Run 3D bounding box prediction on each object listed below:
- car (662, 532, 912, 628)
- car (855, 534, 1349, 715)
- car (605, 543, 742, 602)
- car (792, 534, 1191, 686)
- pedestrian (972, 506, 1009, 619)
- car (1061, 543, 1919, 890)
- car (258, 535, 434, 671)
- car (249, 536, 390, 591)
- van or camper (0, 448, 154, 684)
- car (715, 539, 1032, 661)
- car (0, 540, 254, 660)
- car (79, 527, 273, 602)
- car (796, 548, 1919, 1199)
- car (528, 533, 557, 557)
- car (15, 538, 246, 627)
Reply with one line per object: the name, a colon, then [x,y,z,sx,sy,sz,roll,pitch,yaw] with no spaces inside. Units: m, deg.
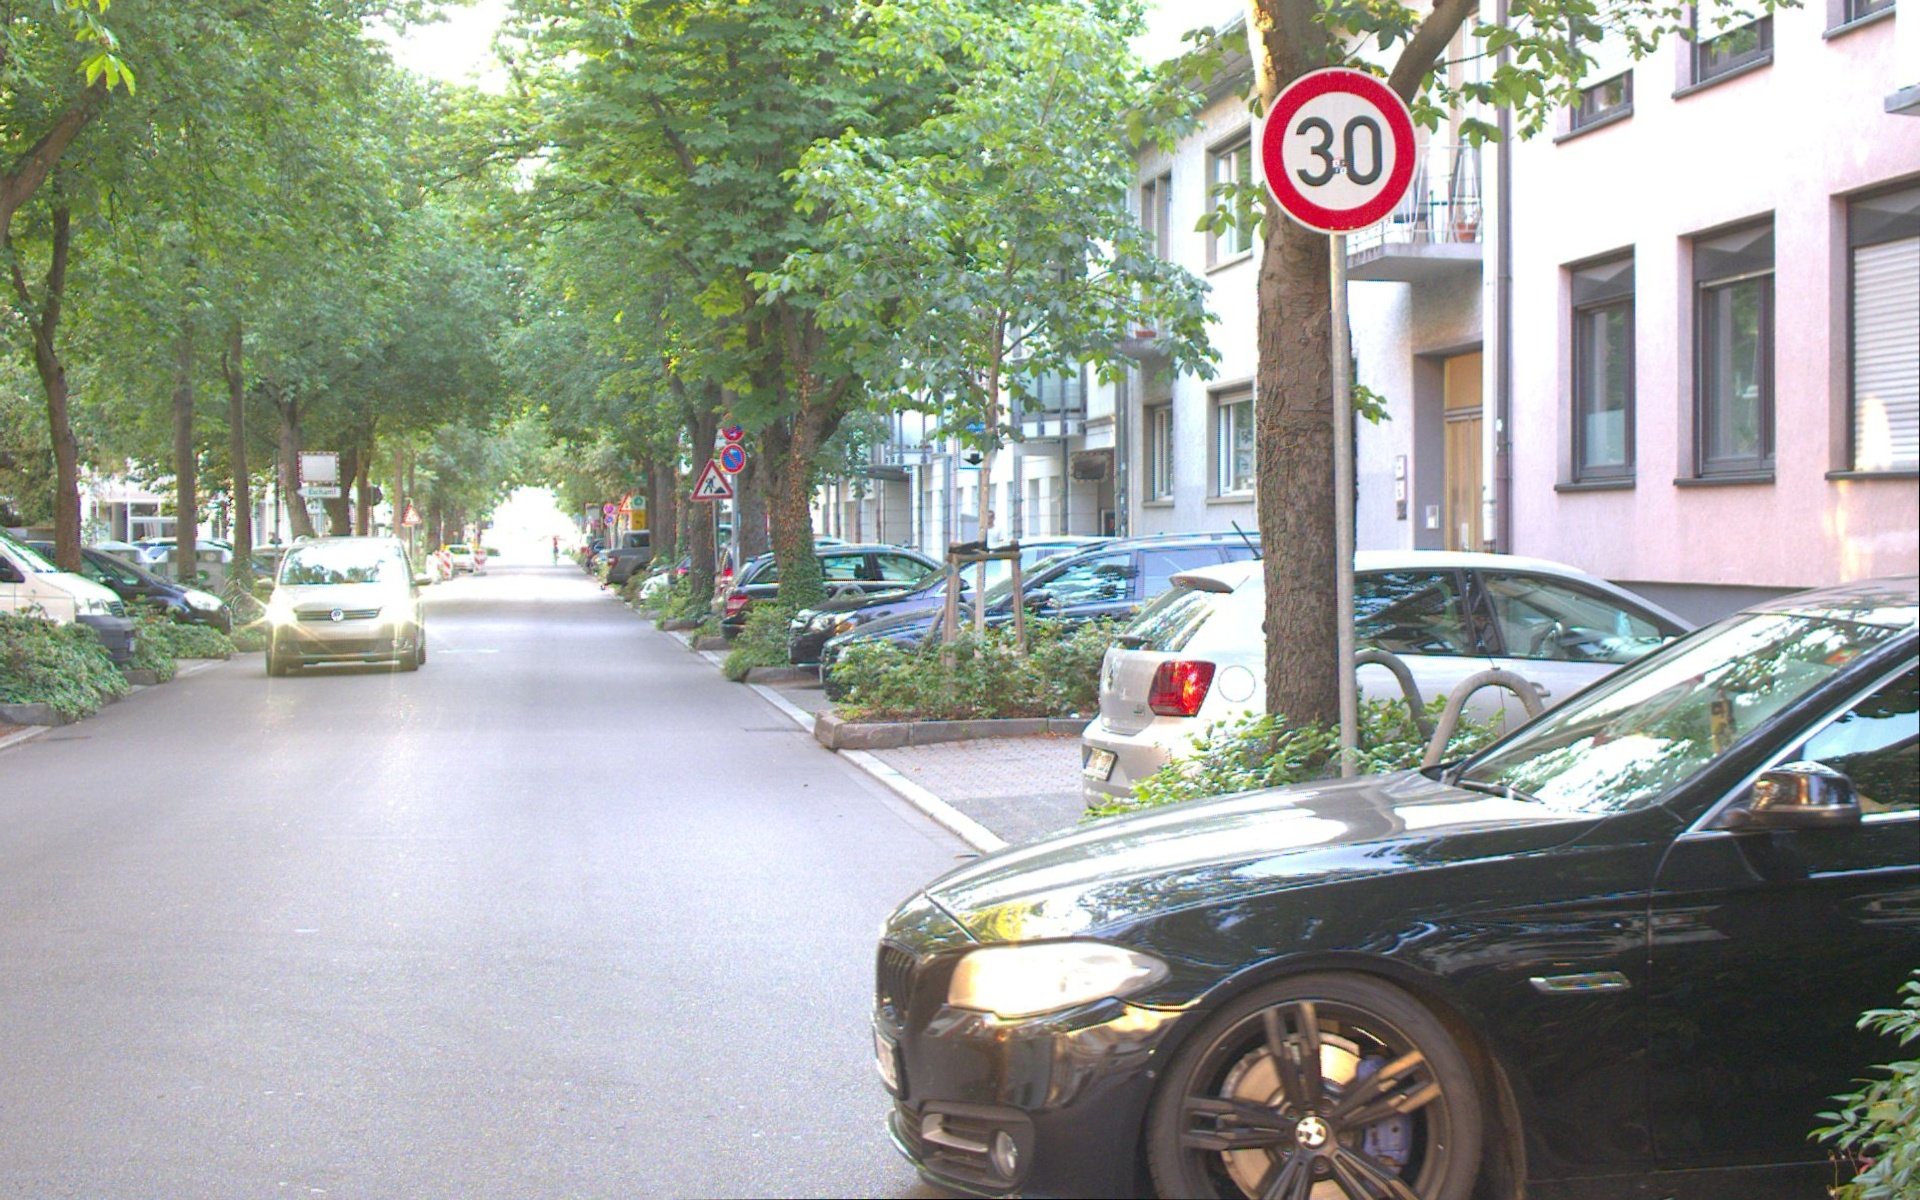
car: [-2.877,-0.347,56.684,3.967,1.522,1.785,-1,1,-8]
car: [1.177,0.180,29.532,3.967,1.471,1.785,-1,1,-8]
car: [-8.392,-0.826,100.635,3.967,1.678,1.785,0,1,-5]
car: [0.296,0.084,36.010,3.967,1.522,1.785,0,1,-7]
pedestrian: [0.540,-0.666,61.329,0.589,2.007,0.669,0,1,-5]
car: [2.540,0.486,15.936,3.908,1.471,1.665,-1,1,-8]
car: [-7.352,-0.007,41.458,1.779,1.557,4.169,0,1,-6]
car: [-18.967,-1.091,101.945,3.967,1.614,1.785,0,1,-5]
van or camper: [-11.152,-0.364,36.903,4.662,2.470,2.000,0,1,-7]
car: [-1.158,-0.023,44.821,3.967,1.522,1.785,0,1,-7]
car: [-11.953,-0.012,47.901,3.967,1.614,1.785,0,1,-6]
car: [-17.292,-0.786,75.970,3.967,1.614,1.785,0,1,-5]
car: [2.056,0.624,7.836,4.744,1.475,1.800,0,1,-6]
car: [-26.732,-3.499,220.227,1.822,1.525,4.001,0,1,-6]
car: [-15.495,-0.347,64.365,3.967,1.614,1.785,0,1,-5]
